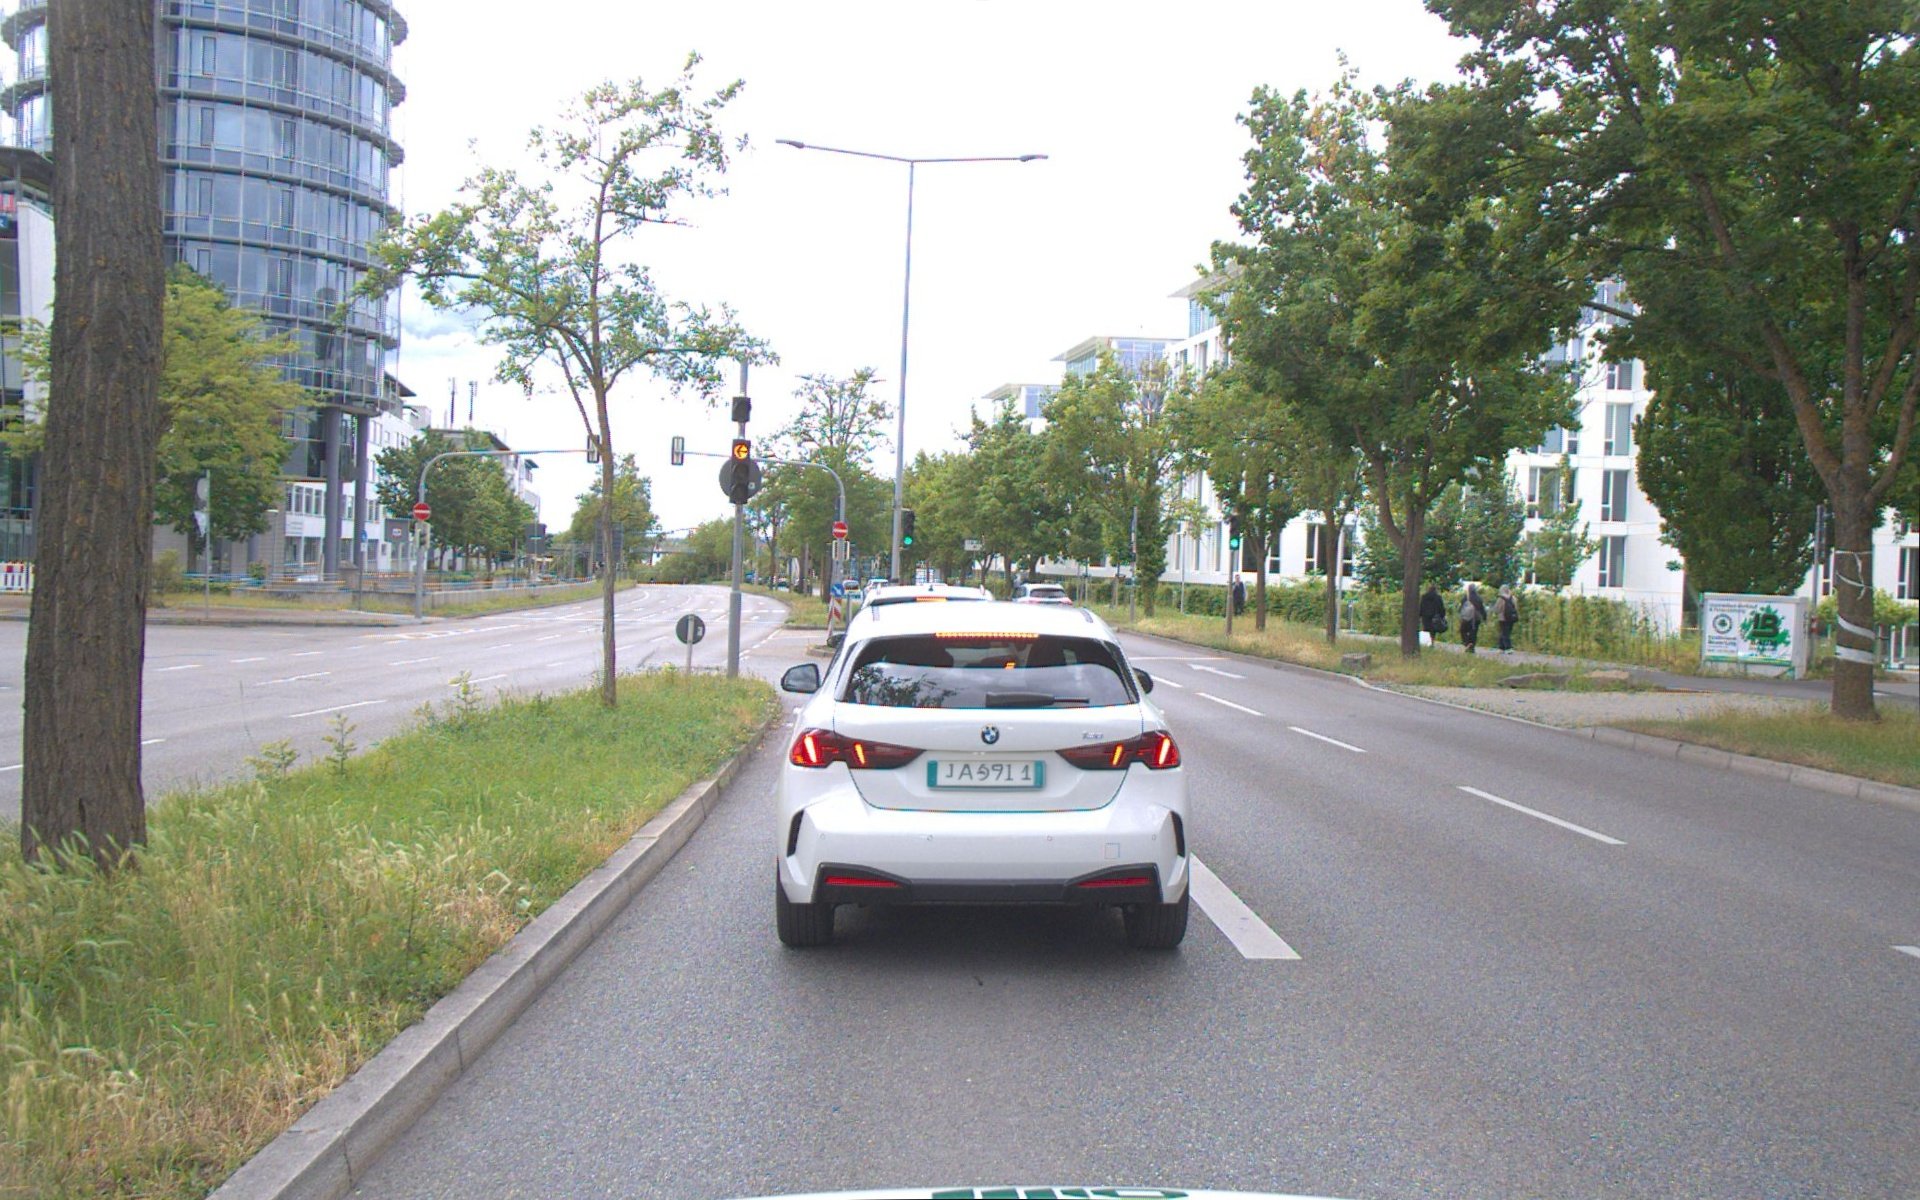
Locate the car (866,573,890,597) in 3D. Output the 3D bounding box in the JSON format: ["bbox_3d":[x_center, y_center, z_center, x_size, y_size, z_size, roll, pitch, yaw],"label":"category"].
[{"bbox_3d":[-5.993,-1.091,120.644,1.570,1.695,3.997,1,0,-4],"label":"car"}]

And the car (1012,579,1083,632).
[{"bbox_3d":[2.880,0.165,55.286,1.954,1.699,3.998,0,0,-3],"label":"car"}]

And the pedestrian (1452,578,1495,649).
[{"bbox_3d":[11.955,0.304,38.542,0.685,1.623,0.883,1,0,-2],"label":"pedestrian"}]

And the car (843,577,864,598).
[{"bbox_3d":[-9.059,-1.078,140.784,1.705,1.695,3.997,1,0,-4],"label":"car"}]

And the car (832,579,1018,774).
[{"bbox_3d":[-0.321,0.629,15.838,1.518,1.596,3.999,1,0,-1],"label":"car"}]

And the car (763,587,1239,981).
[{"bbox_3d":[0.132,0.696,8.326,1.785,1.463,3.999,1,0,-1],"label":"car"}]

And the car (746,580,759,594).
[{"bbox_3d":[-31.987,-1.962,254.833,1.803,2.049,3.994,1,0,-7],"label":"car"}]

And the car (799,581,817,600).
[{"bbox_3d":[-14.150,-0.893,153.722,1.570,1.695,3.997,1,0,-4],"label":"car"}]

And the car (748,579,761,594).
[{"bbox_3d":[-29.121,-1.841,234.670,1.803,2.049,3.994,1,0,-7],"label":"car"}]

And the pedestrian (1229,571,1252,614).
[{"bbox_3d":[10.606,-0.285,62.568,0.726,1.601,0.674,1,-1,-2],"label":"pedestrian"}]

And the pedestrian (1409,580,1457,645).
[{"bbox_3d":[11.071,0.289,38.747,0.773,1.473,1.111,1,0,-2],"label":"pedestrian"}]

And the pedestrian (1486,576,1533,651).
[{"bbox_3d":[12.841,0.319,38.661,0.751,1.715,0.883,1,-1,-2],"label":"pedestrian"}]

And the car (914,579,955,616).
[{"bbox_3d":[-1.307,-0.125,82.277,1.662,1.747,3.995,1,0,-6],"label":"car"}]

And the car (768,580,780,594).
[{"bbox_3d":[-28.857,-2.012,256.736,1.803,2.049,3.994,1,0,-7],"label":"car"}]
